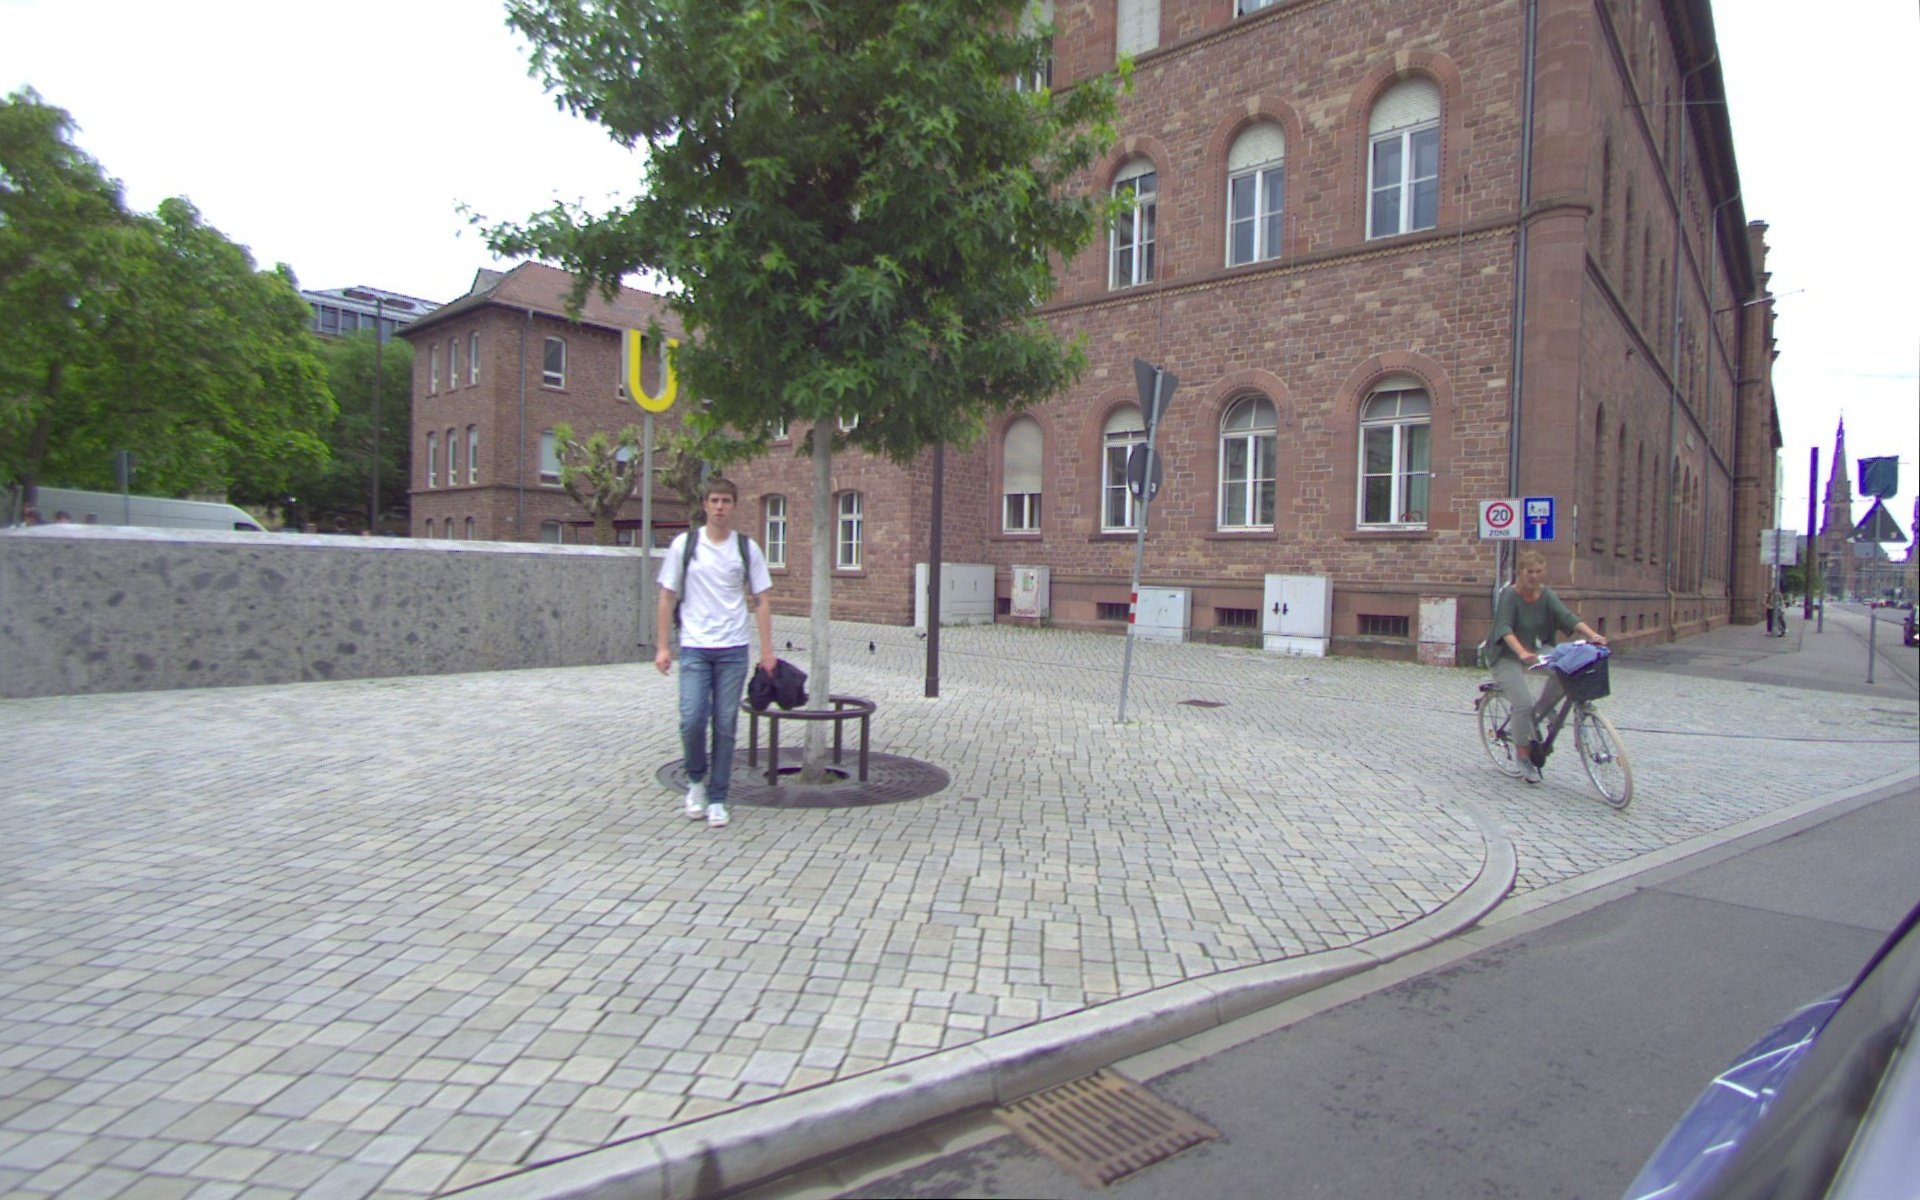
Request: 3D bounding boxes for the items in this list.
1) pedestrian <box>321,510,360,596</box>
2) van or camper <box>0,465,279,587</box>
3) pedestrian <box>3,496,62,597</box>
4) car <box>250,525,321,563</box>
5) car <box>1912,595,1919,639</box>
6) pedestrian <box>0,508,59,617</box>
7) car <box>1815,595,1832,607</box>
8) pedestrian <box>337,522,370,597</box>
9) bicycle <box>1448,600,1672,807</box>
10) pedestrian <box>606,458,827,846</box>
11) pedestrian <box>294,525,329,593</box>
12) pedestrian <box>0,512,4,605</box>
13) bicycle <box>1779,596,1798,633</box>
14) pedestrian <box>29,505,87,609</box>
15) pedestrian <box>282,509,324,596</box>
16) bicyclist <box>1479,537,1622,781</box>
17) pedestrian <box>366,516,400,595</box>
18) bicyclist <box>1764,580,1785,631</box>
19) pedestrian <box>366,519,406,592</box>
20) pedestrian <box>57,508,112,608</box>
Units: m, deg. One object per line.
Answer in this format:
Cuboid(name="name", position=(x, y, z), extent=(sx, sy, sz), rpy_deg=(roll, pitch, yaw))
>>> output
Cuboid(name="pedestrian", position=(-12.516, -0.937, 20.450), extent=(0.579, 1.691, 0.515), rpy_deg=(2, 1, -28))
Cuboid(name="van or camper", position=(-21.049, -1.705, 25.250), extent=(1.991, 2.753, 6.464), rpy_deg=(1, 1, 40))
Cuboid(name="pedestrian", position=(-16.097, -0.920, 17.578), extent=(0.579, 1.691, 0.515), rpy_deg=(2, 1, -26))
Cuboid(name="car", position=(-30.589, -2.489, 45.861), extent=(3.982, 1.582, 1.777), rpy_deg=(1, 1, 42))
Cuboid(name="car", position=(35.122, 0.623, 35.841), extent=(1.740, 1.566, 3.599), rpy_deg=(2, 1, 39))
Cuboid(name="pedestrian", position=(-14.863, -0.595, 16.136), extent=(0.579, 1.691, 0.515), rpy_deg=(2, 1, -29))
Cuboid(name="car", position=(126.841, 0.199, 148.615), extent=(1.828, 1.683, 3.941), rpy_deg=(1, 1, 41))
Cuboid(name="pedestrian", position=(-15.861, -1.046, 26.462), extent=(0.660, 1.913, 0.527), rpy_deg=(1, 0, 37))
Cuboid(name="bicycle", position=(4.367, 0.672, 7.551), extent=(0.515, 1.276, 1.941), rpy_deg=(1, 2, 1))
Cuboid(name="pedestrian", position=(-1.345, 0.235, 5.584), extent=(0.868, 1.925, 0.762), rpy_deg=(4, 2, 40))
Cuboid(name="pedestrian", position=(-16.435, -1.020, 25.652), extent=(0.659, 1.699, 0.528), rpy_deg=(1, 0, 32))
Cuboid(name="pedestrian", position=(-17.572, -0.752, 18.030), extent=(0.579, 1.691, 0.644), rpy_deg=(2, 1, -29))
Cuboid(name="bicycle", position=(30.756, 0.513, 37.568), extent=(0.445, 1.291, 2.194), rpy_deg=(4, 3, 40))
Cuboid(name="pedestrian", position=(-15.156, -0.716, 17.019), extent=(0.579, 1.691, 0.515), rpy_deg=(2, 1, -29))
Cuboid(name="pedestrian", position=(-13.089, -0.938, 20.180), extent=(0.579, 1.691, 0.515), rpy_deg=(2, 1, -26))
Cuboid(name="bicyclist", position=(4.359, 0.406, 7.521), extent=(0.560, 1.705, 0.793), rpy_deg=(1, 1, 2))
Cuboid(name="pedestrian", position=(-12.609, -0.966, 22.129), extent=(0.579, 1.691, 0.515), rpy_deg=(2, 1, -28))
Cuboid(name="bicyclist", position=(30.308, 0.197, 37.648), extent=(0.528, 1.881, 0.444), rpy_deg=(3, 2, 40))
Cuboid(name="pedestrian", position=(-16.438, -1.259, 28.983), extent=(0.757, 2.039, 0.807), rpy_deg=(1, 1, 44))
Cuboid(name="pedestrian", position=(-15.237, -0.727, 17.633), extent=(0.579, 1.691, 0.515), rpy_deg=(2, 1, -29))
